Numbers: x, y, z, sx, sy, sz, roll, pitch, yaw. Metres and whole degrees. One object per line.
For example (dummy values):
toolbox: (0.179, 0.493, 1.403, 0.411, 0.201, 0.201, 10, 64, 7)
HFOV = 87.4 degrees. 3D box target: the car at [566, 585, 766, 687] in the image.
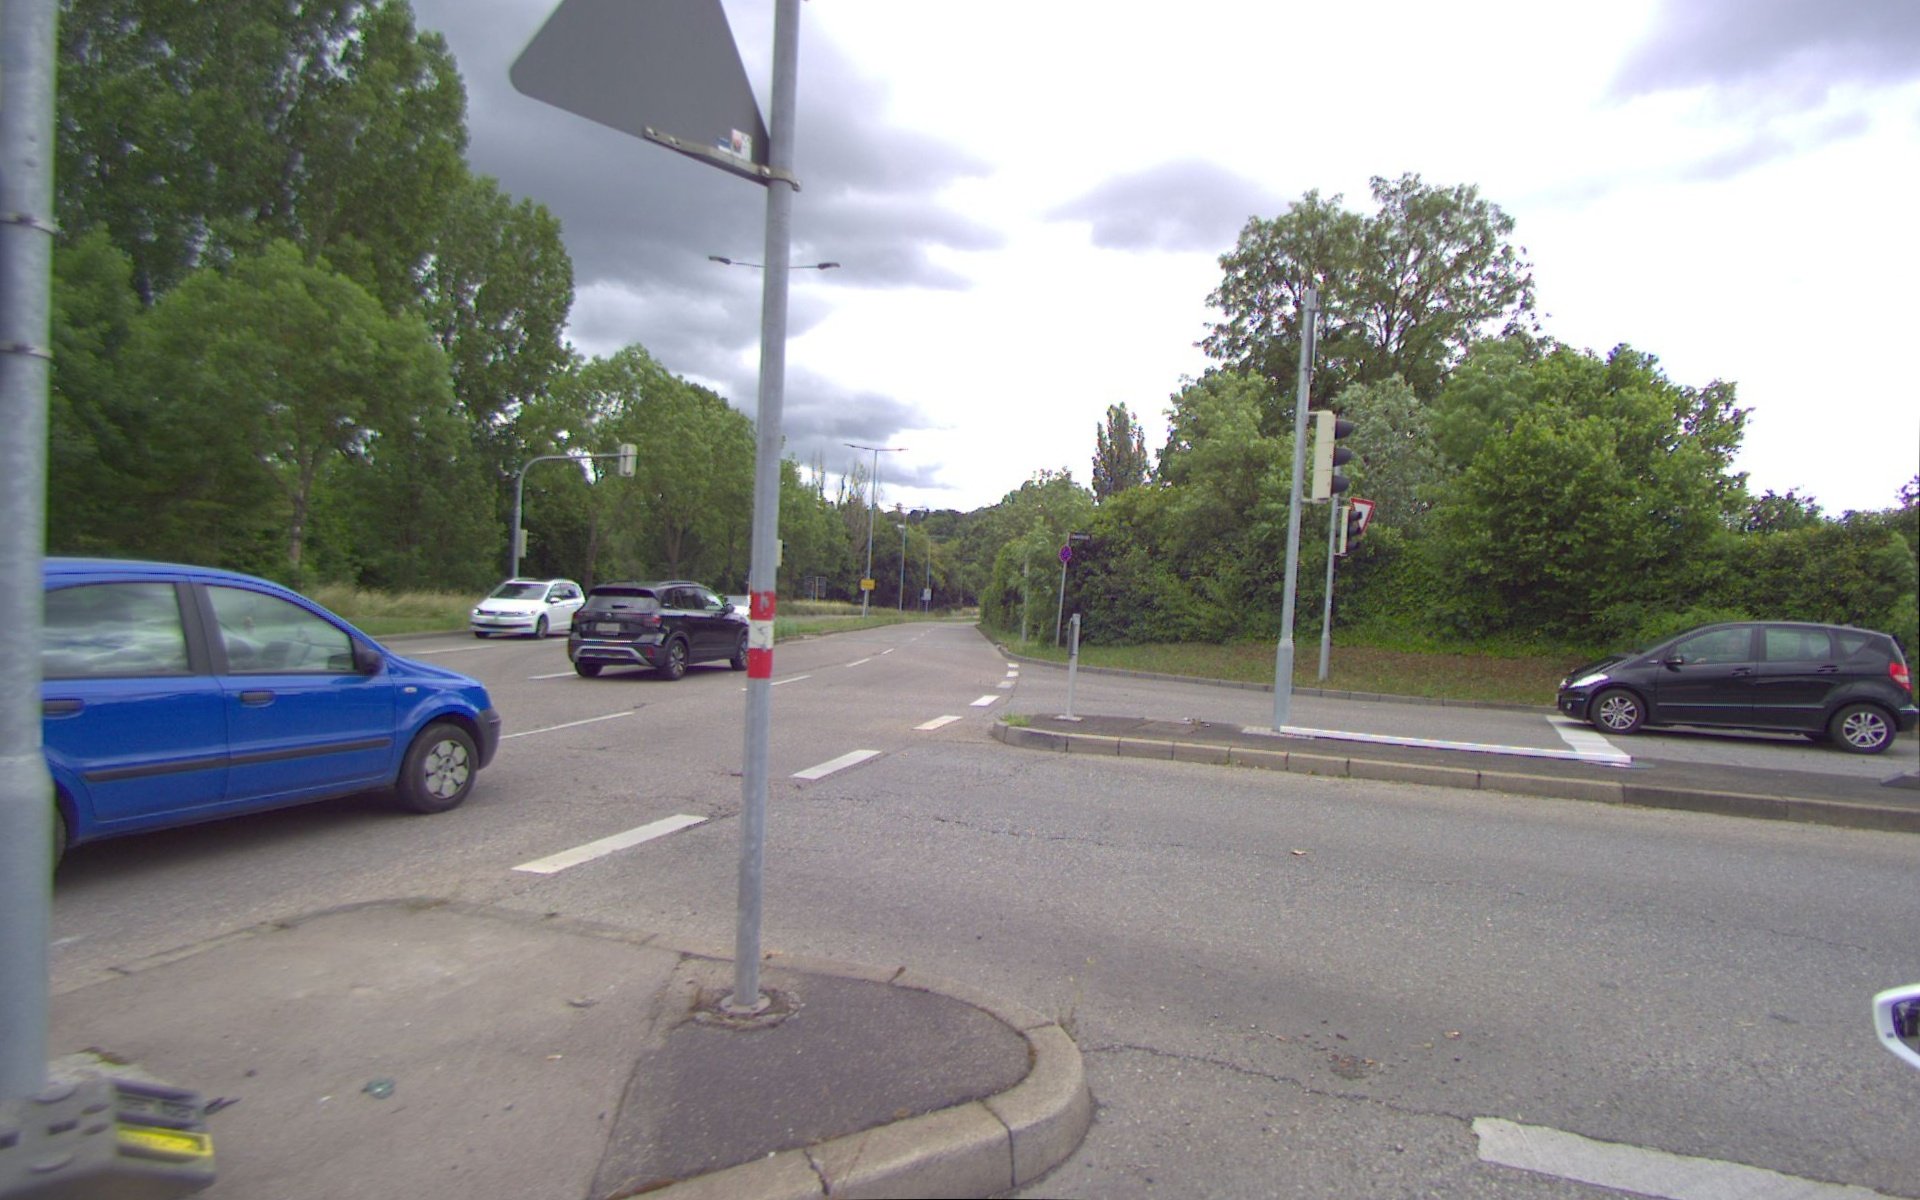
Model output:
car: (-4.860, 0.543, 17.175, 1.628, 1.527, 3.772, 1, 0, 13)

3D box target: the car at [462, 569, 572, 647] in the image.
car: (-12.355, 0.153, 28.300, 2.048, 1.783, 4.309, 3, 3, -14)

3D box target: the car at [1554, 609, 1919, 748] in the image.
car: (10.258, 0.983, 13.600, 3.719, 1.572, 1.641, 1, -2, 29)

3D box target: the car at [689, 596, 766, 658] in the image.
car: (-9.189, 1.006, 40.093, 1.897, 2.021, 4.321, 4, 3, 1)

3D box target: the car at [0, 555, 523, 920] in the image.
car: (-4.305, 0.569, 5.536, 1.518, 1.527, 3.379, 1, 0, 21)
